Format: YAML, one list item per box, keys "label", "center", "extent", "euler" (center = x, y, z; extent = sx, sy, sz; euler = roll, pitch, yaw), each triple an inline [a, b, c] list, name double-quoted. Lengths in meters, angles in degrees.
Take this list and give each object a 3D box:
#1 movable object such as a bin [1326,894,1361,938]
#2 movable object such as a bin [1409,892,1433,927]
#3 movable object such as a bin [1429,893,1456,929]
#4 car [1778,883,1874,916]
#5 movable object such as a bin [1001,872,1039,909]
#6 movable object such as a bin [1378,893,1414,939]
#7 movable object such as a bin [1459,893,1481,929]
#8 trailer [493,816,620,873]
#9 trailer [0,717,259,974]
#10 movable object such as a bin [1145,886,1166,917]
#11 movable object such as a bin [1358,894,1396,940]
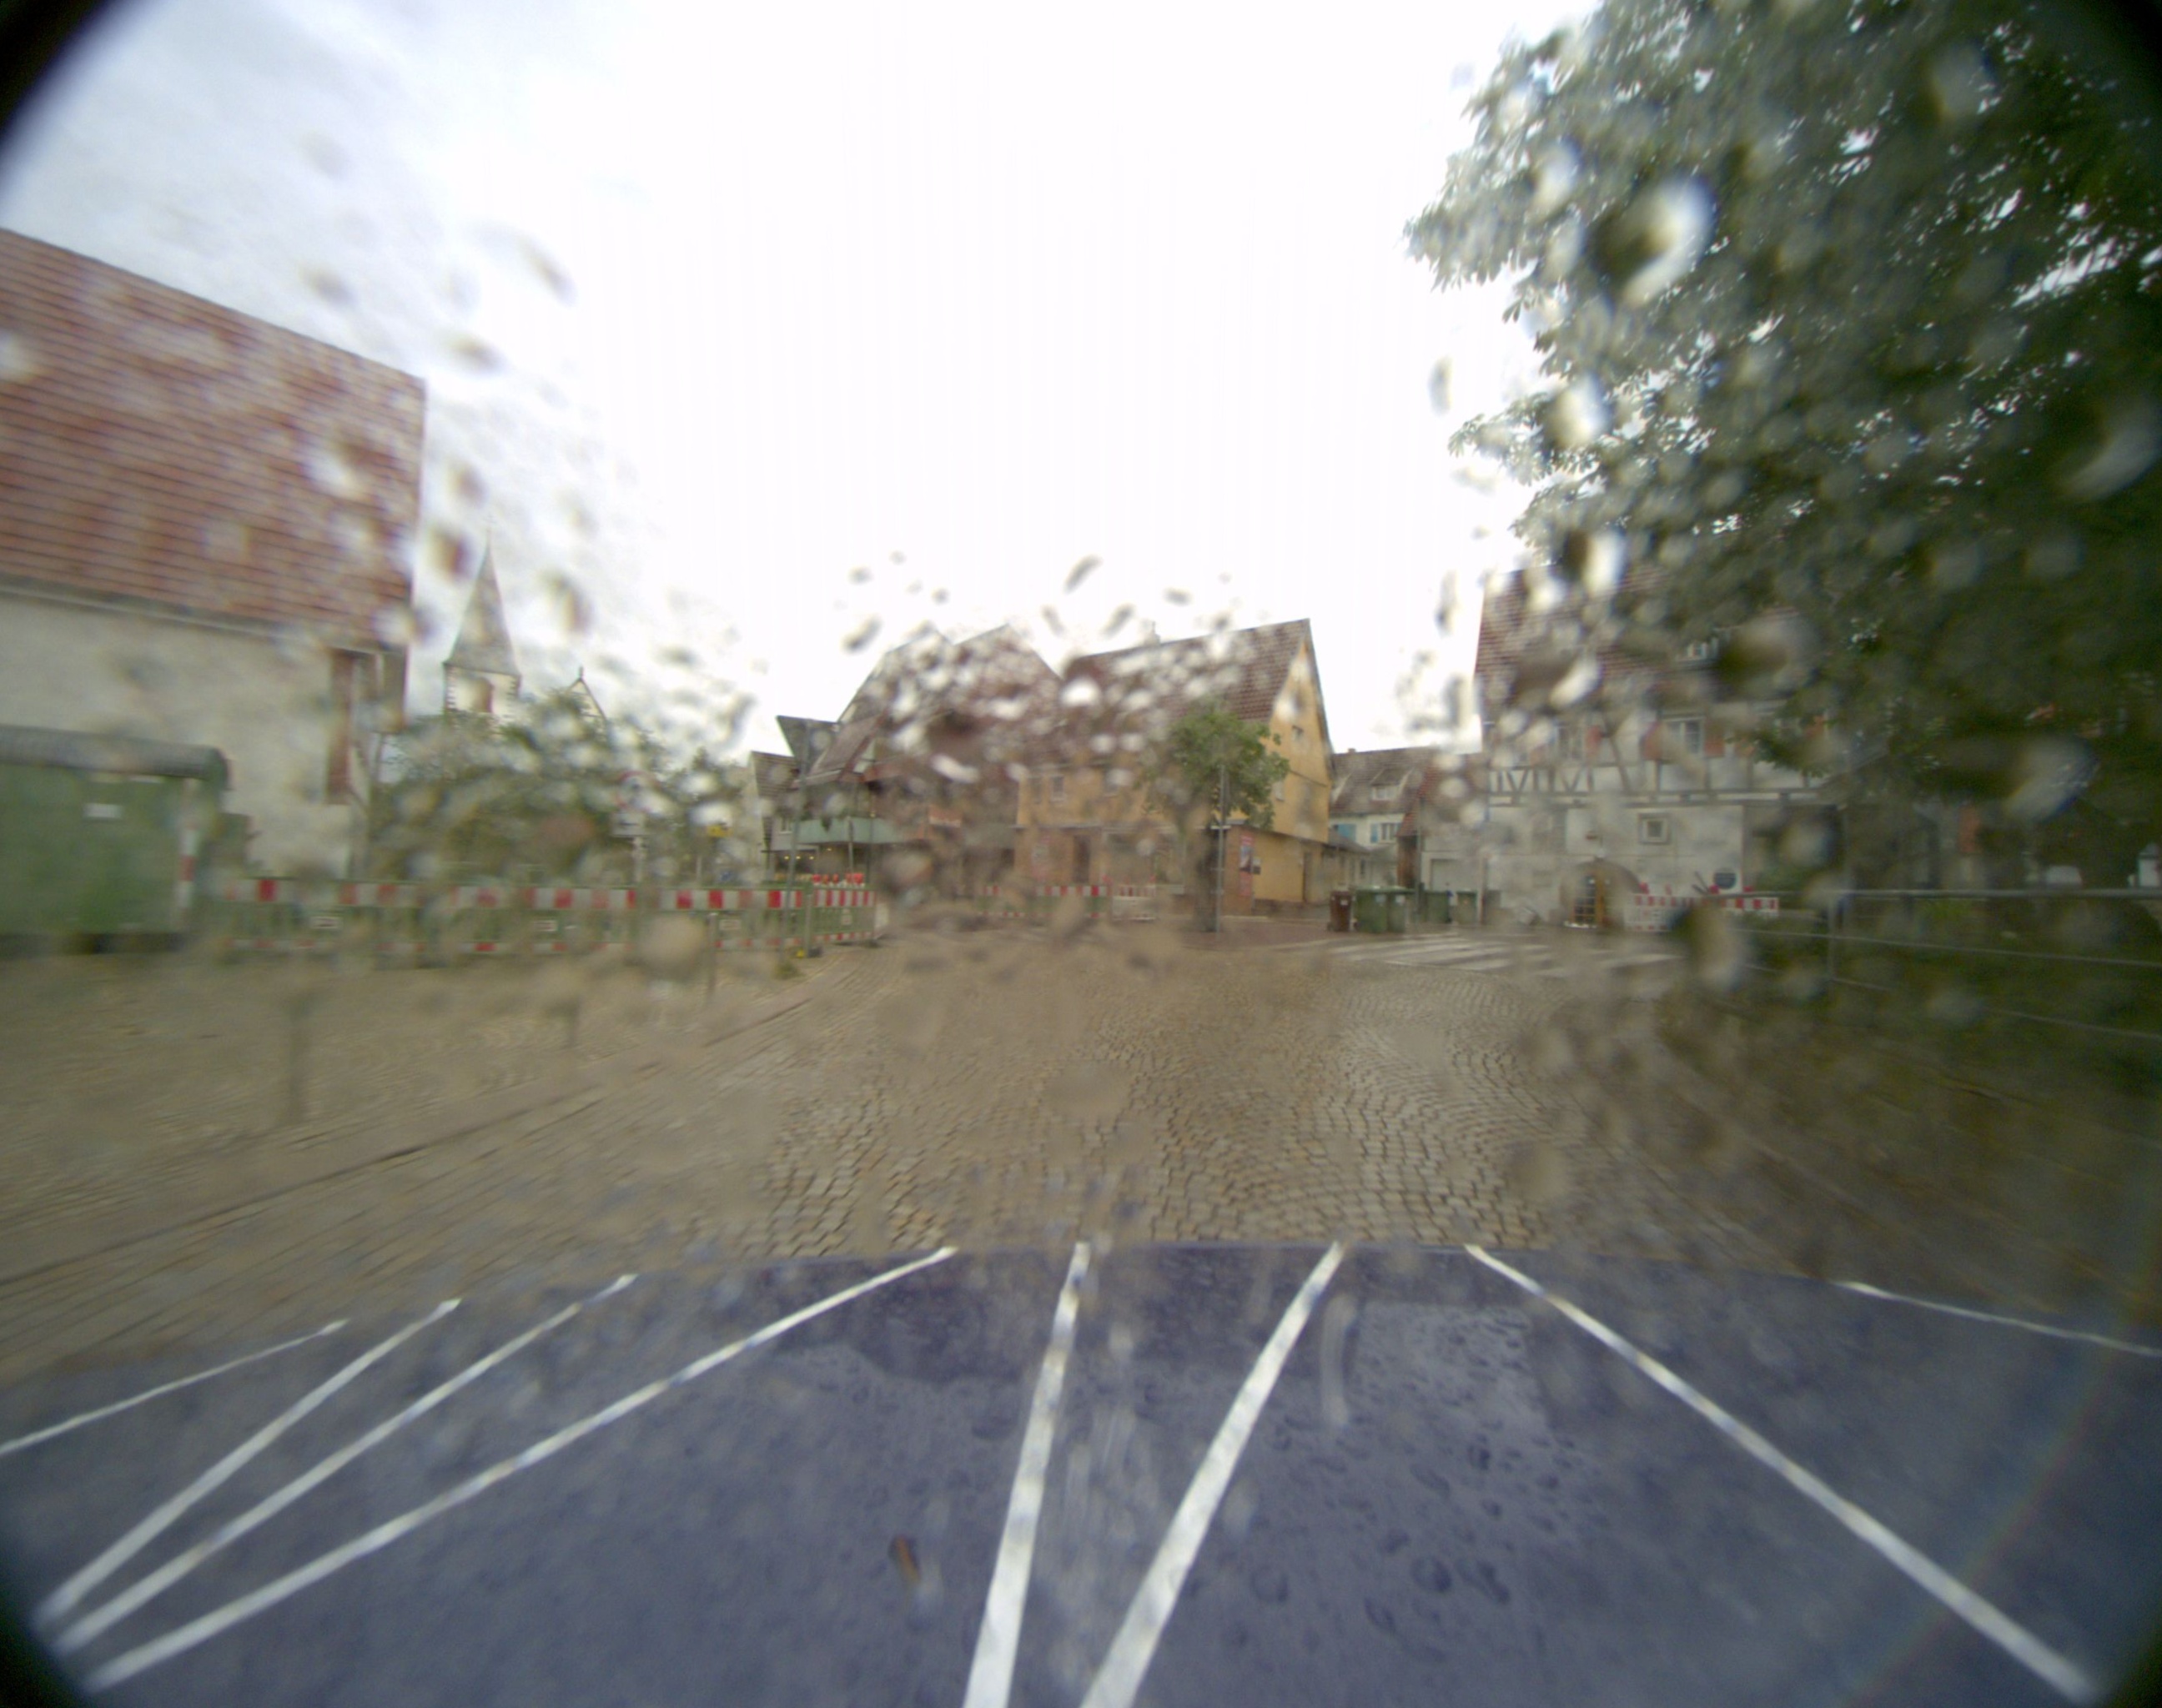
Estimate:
- label: "movable object such as a bin"
  center: [6.162, 1.438, 17.847]
  extent: [0.512, 0.998, 0.567]
  euler: [0, -2, -18]
- label: "movable object such as a bin"
  center: [10.694, 1.728, 23.886]
  extent: [0.585, 1.059, 0.682]
  euler: [-2, -2, 32]
- label: "movable object such as a bin"
  center: [11.130, 1.741, 23.387]
  extent: [0.619, 1.059, 0.538]
  euler: [2, -2, -44]
- label: "car"
  center: [33.667, 2.039, 34.446]
  extent: [2.978, 1.441, 1.416]
  euler: [-1, -4, 39]
- label: "movable object such as a bin"
  center: [-2.644, 1.558, 32.866]
  extent: [1.238, 1.504, 1.071]
  euler: [0, 0, 37]
- label: "movable object such as a bin"
  center: [7.345, 1.436, 17.727]
  extent: [0.545, 1.026, 0.533]
  euler: [0, -2, -27]
- label: "movable object such as a bin"
  center: [11.785, 1.709, 23.053]
  extent: [0.538, 1.059, 0.682]
  euler: [-1, -2, 24]
- label: "trailer"
  center: [-30.892, -0.458, 45.006]
  extent: [1.995, 2.928, 5.814]
  euler: [0, -4, 25]
- label: "trailer"
  center: [-13.180, -0.097, 8.820]
  extent: [4.644, 2.818, 2.486]
  euler: [5, -5, -44]
- label: "movable object such as a bin"
  center: [2.822, 1.789, 28.792]
  extent: [0.578, 1.125, 0.520]
  euler: [1, 1, 33]
- label: "movable object such as a bin"
  center: [6.798, 1.432, 17.452]
  extent: [0.543, 1.030, 0.571]
  euler: [1, -3, -27]
